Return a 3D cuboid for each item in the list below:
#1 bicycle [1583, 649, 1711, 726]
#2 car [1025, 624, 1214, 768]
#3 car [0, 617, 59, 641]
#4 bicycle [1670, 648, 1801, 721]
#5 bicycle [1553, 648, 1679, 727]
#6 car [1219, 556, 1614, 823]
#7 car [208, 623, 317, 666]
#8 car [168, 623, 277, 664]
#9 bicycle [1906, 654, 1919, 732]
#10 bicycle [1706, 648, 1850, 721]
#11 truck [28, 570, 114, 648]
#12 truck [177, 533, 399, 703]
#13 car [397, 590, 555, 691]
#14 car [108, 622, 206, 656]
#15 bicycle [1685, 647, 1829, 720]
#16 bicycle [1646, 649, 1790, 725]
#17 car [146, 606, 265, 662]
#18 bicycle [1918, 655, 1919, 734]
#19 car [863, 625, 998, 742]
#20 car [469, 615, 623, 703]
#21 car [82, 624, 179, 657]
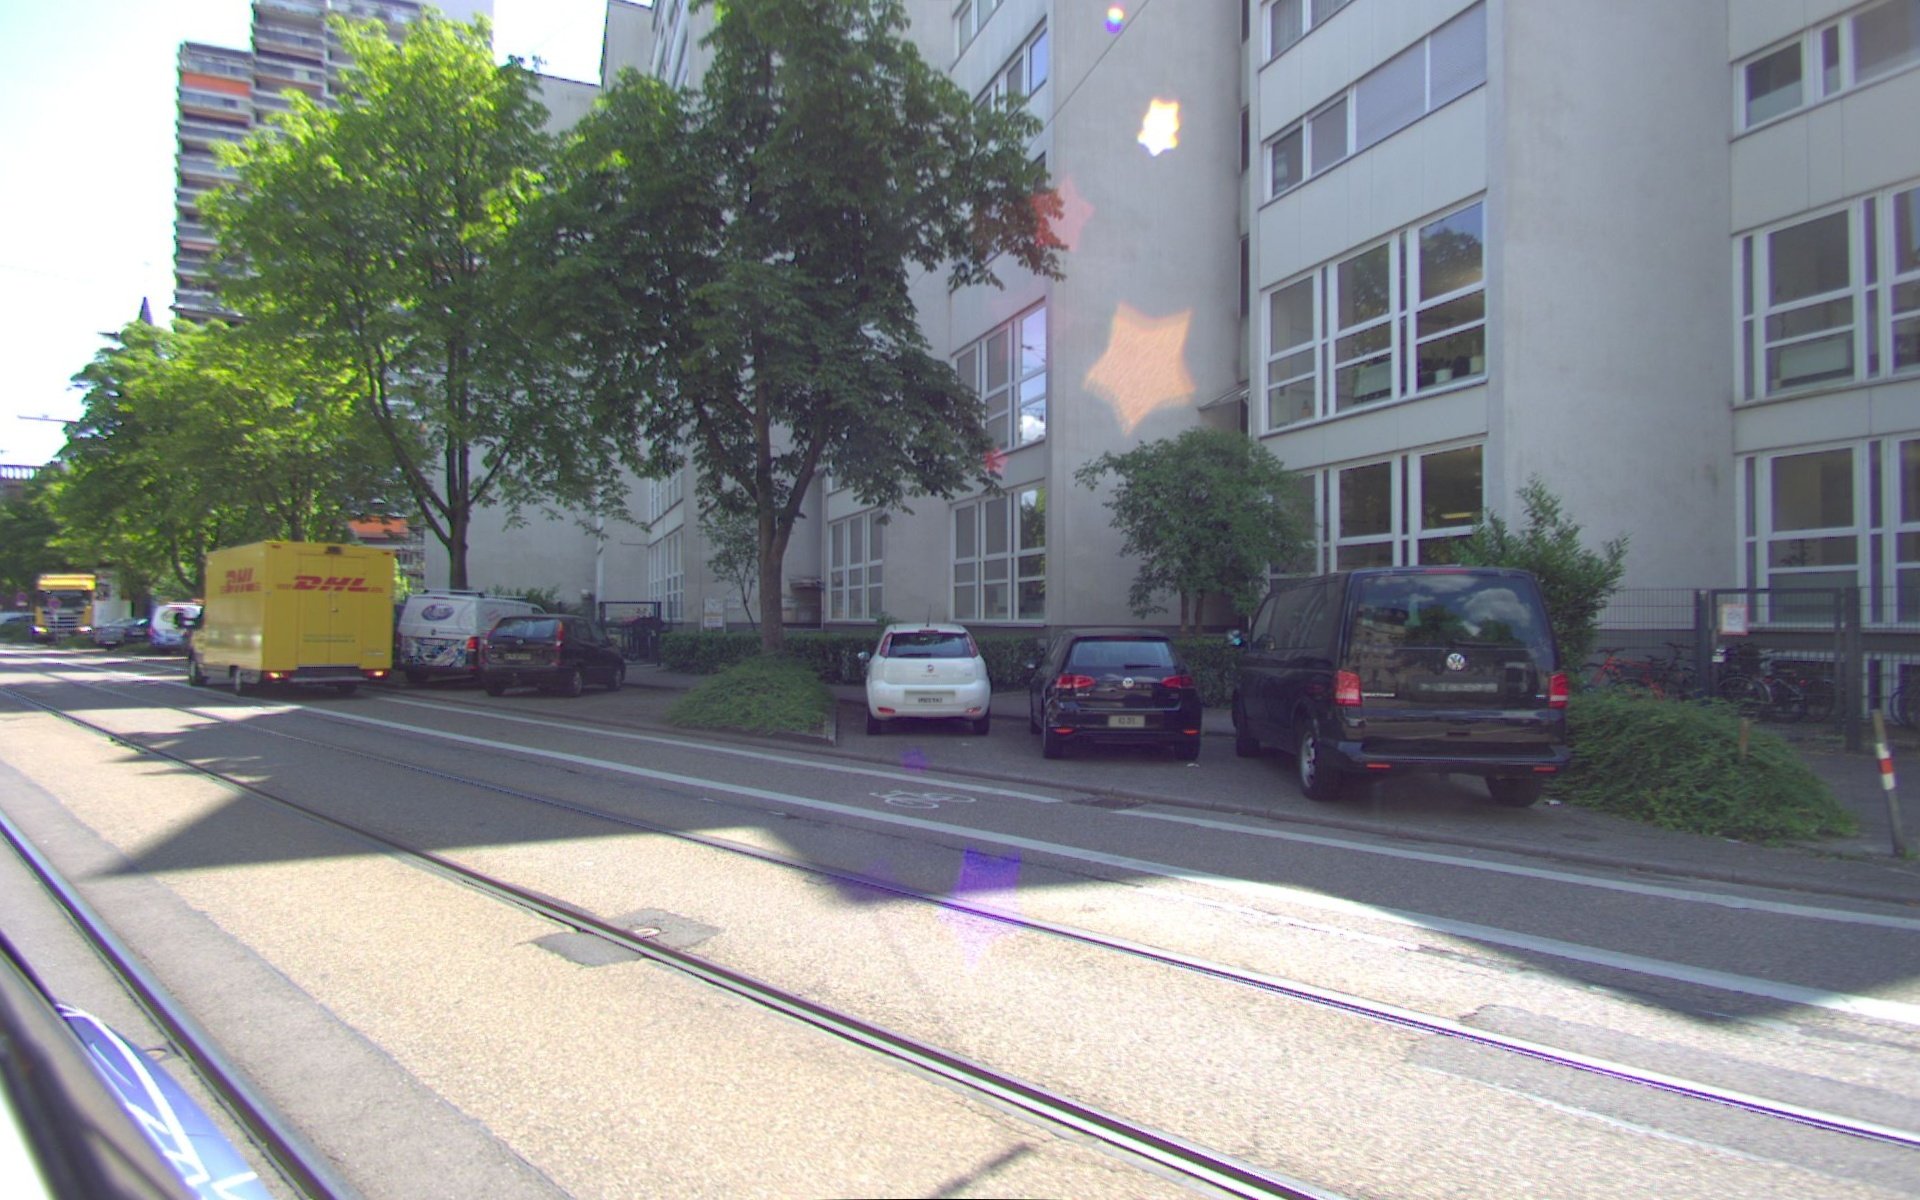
[{"bbox_3d":[9.790,1.228,14.477,0.490,1.004,1.455,1,-2,-25],"label":"bicycle"},{"bbox_3d":[1.765,1.034,12.352,1.659,1.465,3.944,0,-1,0],"label":"car"},{"bbox_3d":[-74.170,2.258,79.833,1.977,1.821,4.318,0,-1,8],"label":"car"},{"bbox_3d":[11.612,1.245,15.197,0.490,1.004,1.491,1,-2,-25],"label":"bicycle"},{"bbox_3d":[9.175,1.201,14.208,0.464,1.004,1.455,1,-2,-25],"label":"bicycle"},{"bbox_3d":[3.926,0.704,9.741,1.937,1.940,4.581,0,-1,4],"label":"car"},{"bbox_3d":[-25.186,1.574,36.700,1.657,1.465,3.679,0,-1,-5],"label":"car"},{"bbox_3d":[-27.725,1.617,38.186,1.657,1.465,3.679,0,-1,-5],"label":"car"},{"bbox_3d":[13.014,1.203,12.851,1.414,1.004,0.399,-1,-2,39],"label":"bicycle"},{"bbox_3d":[12.444,1.260,15.455,0.490,1.004,1.657,1,-2,-25],"label":"bicycle"},{"bbox_3d":[-51.985,0.599,59.429,2.633,4.212,10.498,1,-2,-35],"label":"truck"},{"bbox_3d":[-13.872,0.378,20.668,6.514,2.943,2.276,-1,-2,43],"label":"truck"},{"bbox_3d":[-10.703,0.878,22.730,1.580,2.058,4.052,0,-1,0],"label":"car"},{"bbox_3d":[-35.467,1.701,44.816,1.657,1.430,3.679,0,-1,-5],"label":"car"},{"bbox_3d":[12.028,1.240,15.332,0.490,1.004,1.646,1,-2,-25],"label":"bicycle"},{"bbox_3d":[11.129,1.250,14.925,0.490,1.004,1.646,1,-2,-25],"label":"bicycle"},{"bbox_3d":[-30.044,1.329,40.493,1.849,2.124,4.595,0,-1,-8],"label":"car"},{"bbox_3d":[12.652,1.187,12.293,1.412,1.004,0.399,-1,-2,33],"label":"bicycle"},{"bbox_3d":[-0.533,1.090,14.561,1.700,1.465,3.631,0,-1,-5],"label":"car"},{"bbox_3d":[-8.191,1.127,20.358,1.658,1.587,3.685,1,-1,-2],"label":"car"},{"bbox_3d":[-38.026,1.835,46.482,1.657,1.465,3.679,0,-1,-5],"label":"car"}]
